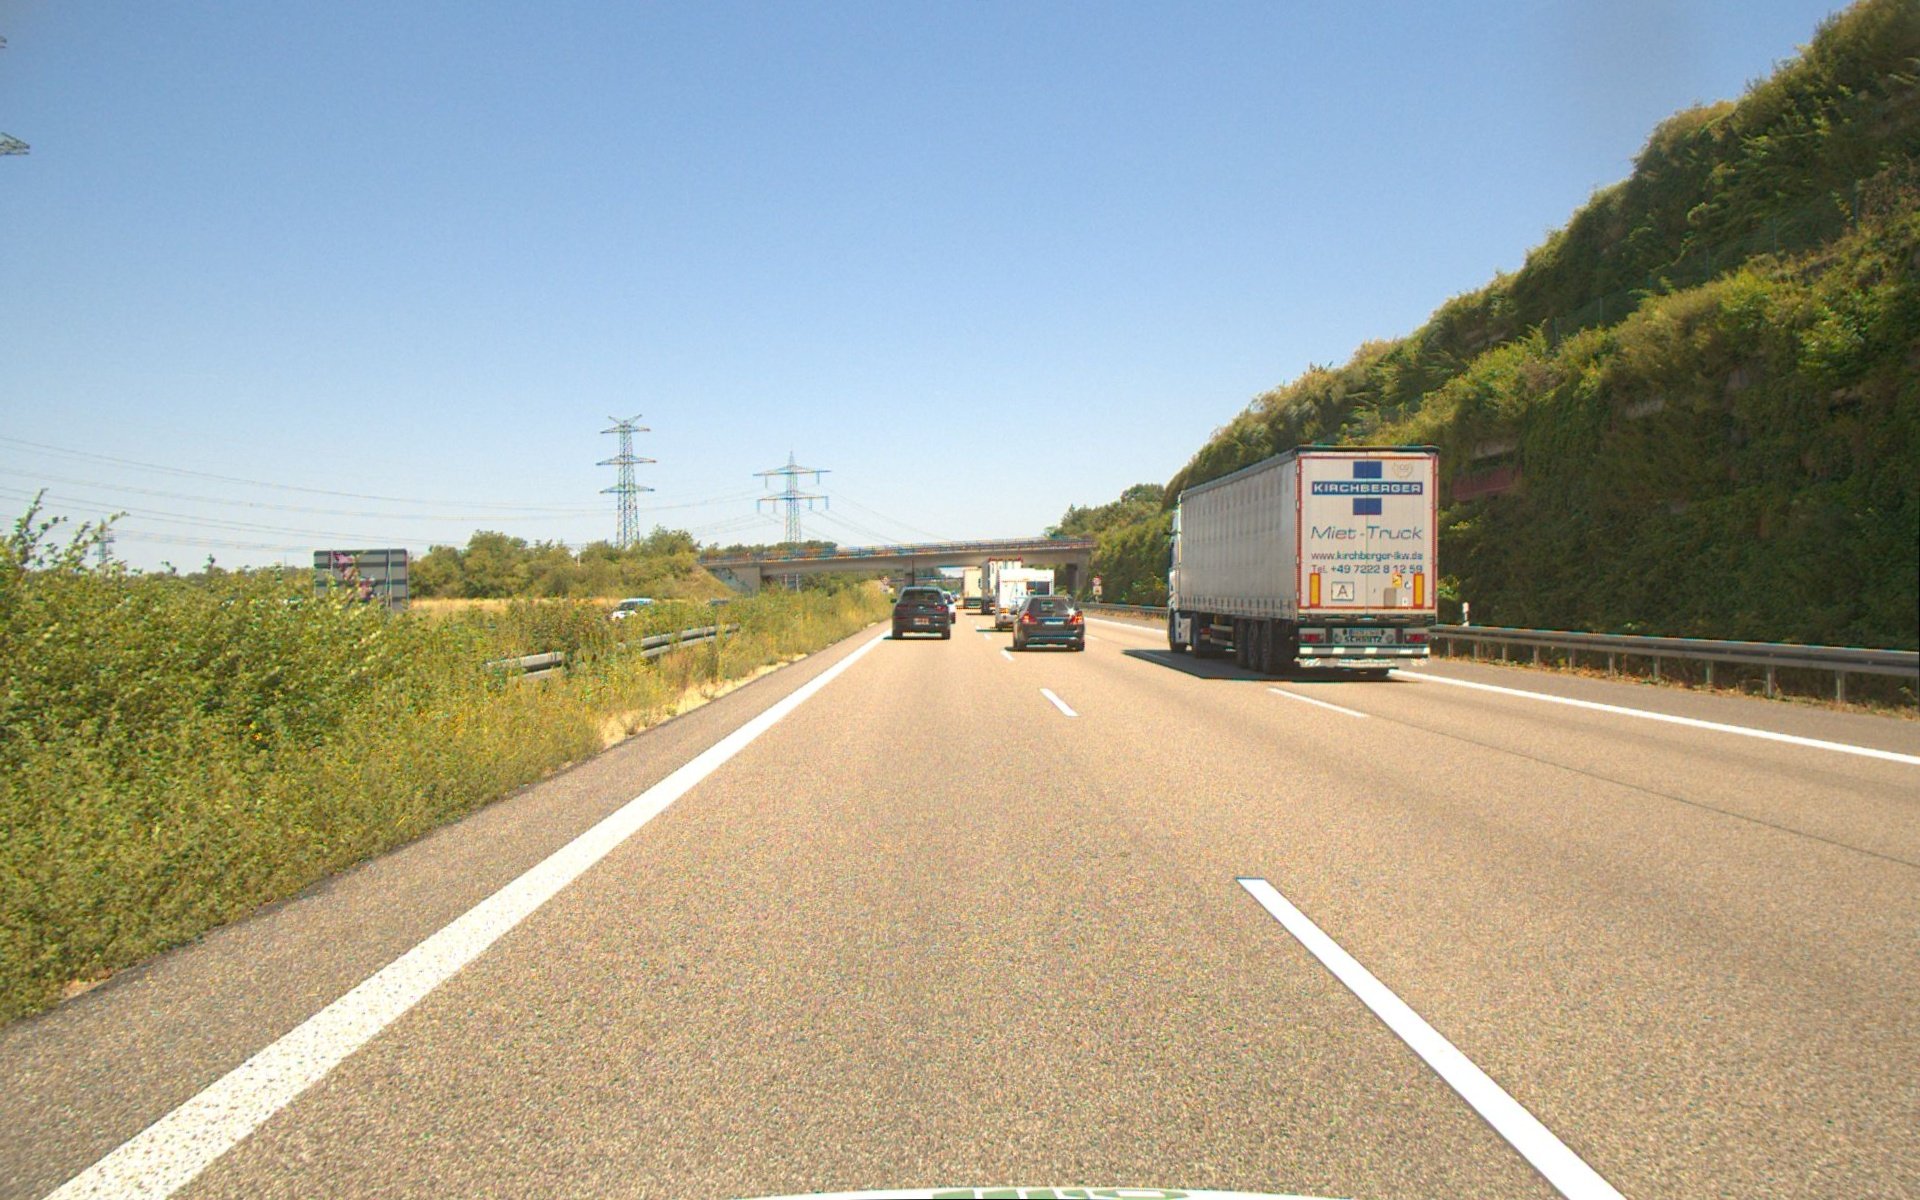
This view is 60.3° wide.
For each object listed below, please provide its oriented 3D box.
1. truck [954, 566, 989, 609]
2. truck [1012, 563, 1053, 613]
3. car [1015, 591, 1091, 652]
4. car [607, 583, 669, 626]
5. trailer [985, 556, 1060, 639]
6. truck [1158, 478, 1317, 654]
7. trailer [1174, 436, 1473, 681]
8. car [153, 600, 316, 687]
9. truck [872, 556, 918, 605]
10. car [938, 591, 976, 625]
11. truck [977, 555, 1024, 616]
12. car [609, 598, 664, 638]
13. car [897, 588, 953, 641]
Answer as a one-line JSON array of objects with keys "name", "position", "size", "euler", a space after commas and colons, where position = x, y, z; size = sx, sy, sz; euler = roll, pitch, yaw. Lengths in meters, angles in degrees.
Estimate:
[{"name": "truck", "position": [1.190, -1.335, 174.545], "size": [3.340, 4.355, 10.605], "euler": [-1, 0, -1]}, {"name": "truck", "position": [6.541, -1.067, 150.788], "size": [3.056, 4.355, 10.165], "euler": [-1, 0, -1]}, {"name": "car", "position": [2.494, 0.558, 45.142], "size": [1.792, 1.552, 4.000], "euler": [-1, 0, -1]}, {"name": "car", "position": [-14.711, 0.185, 75.758], "size": [1.953, 1.877, 5.116], "euler": [-1, 0, -2]}, {"name": "trailer", "position": [2.588, -0.128, 71.574], "size": [2.558, 3.269, 9.949], "euler": [-1, 0, -2]}, {"name": "truck", "position": [7.094, -0.846, 43.065], "size": [3.072, 4.214, 5.502], "euler": [-1, 0, -1]}, {"name": "trailer", "position": [7.164, -0.755, 35.328], "size": [3.118, 4.193, 13.428], "euler": [-1, 0, -1]}, {"name": "car", "position": [-17.687, 1.001, 40.602], "size": [1.859, 2.000, 4.994], "euler": [0, 0, -1]}, {"name": "truck", "position": [-5.784, -1.739, 148.752], "size": [3.881, 4.185, 9.949], "euler": [-1, 0, -2]}, {"name": "car", "position": [-0.189, 0.390, 87.047], "size": [1.793, 1.700, 3.998], "euler": [-1, 0, -3]}, {"name": "truck", "position": [2.985, -1.079, 125.476], "size": [3.056, 4.355, 11.931], "euler": [-1, 0, -1]}, {"name": "car", "position": [-14.457, 0.779, 74.079], "size": [1.579, 1.680, 3.922], "euler": [-1, 0, 1]}, {"name": "car", "position": [-1.200, 0.467, 56.000], "size": [1.793, 1.700, 3.999], "euler": [-1, 0, -2]}]
